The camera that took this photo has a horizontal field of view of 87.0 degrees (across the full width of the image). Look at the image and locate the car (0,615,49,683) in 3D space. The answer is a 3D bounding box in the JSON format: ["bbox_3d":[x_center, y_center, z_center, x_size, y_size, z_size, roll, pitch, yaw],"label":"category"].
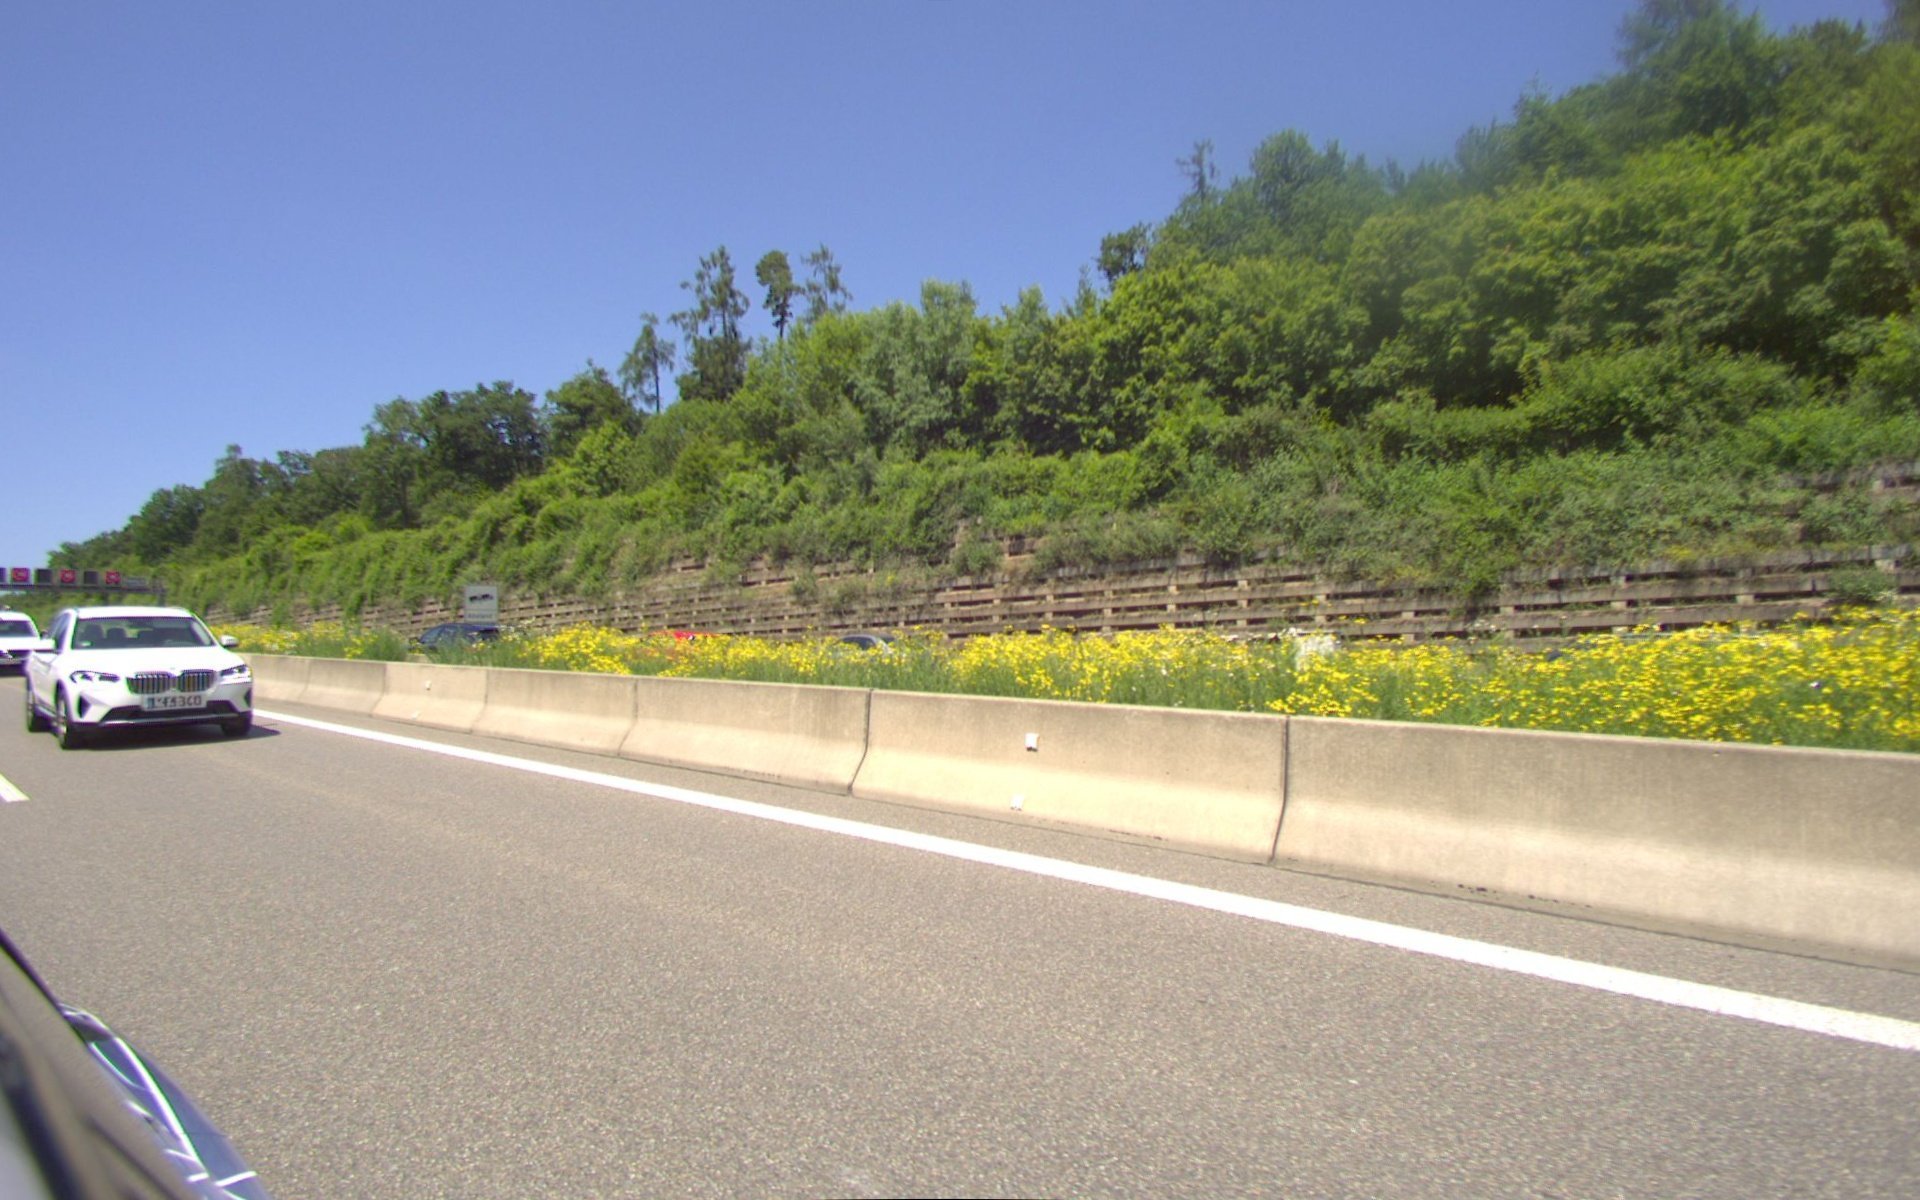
[{"bbox_3d":[-27.286,1.409,28.514,4.500,1.788,1.972,-3,-1,43],"label":"car"}]

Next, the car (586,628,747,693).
[{"bbox_3d":[-7.639,1.500,26.101,4.583,1.533,1.770,-2,-3,40],"label":"car"}]

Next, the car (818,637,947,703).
[{"bbox_3d":[-1.962,1.693,25.278,3.151,1.533,1.424,-2,-3,40],"label":"car"}]

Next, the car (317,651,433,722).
[{"bbox_3d":[-14.039,2.014,24.259,3.151,1.533,1.424,-2,-3,40],"label":"car"}]

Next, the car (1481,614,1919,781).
[{"bbox_3d":[8.187,0.963,11.045,4.153,1.533,1.770,-2,-3,40],"label":"car"}]

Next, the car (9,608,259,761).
[{"bbox_3d":[-10.919,0.976,13.268,4.366,1.656,1.826,-1,-1,41],"label":"car"}]
